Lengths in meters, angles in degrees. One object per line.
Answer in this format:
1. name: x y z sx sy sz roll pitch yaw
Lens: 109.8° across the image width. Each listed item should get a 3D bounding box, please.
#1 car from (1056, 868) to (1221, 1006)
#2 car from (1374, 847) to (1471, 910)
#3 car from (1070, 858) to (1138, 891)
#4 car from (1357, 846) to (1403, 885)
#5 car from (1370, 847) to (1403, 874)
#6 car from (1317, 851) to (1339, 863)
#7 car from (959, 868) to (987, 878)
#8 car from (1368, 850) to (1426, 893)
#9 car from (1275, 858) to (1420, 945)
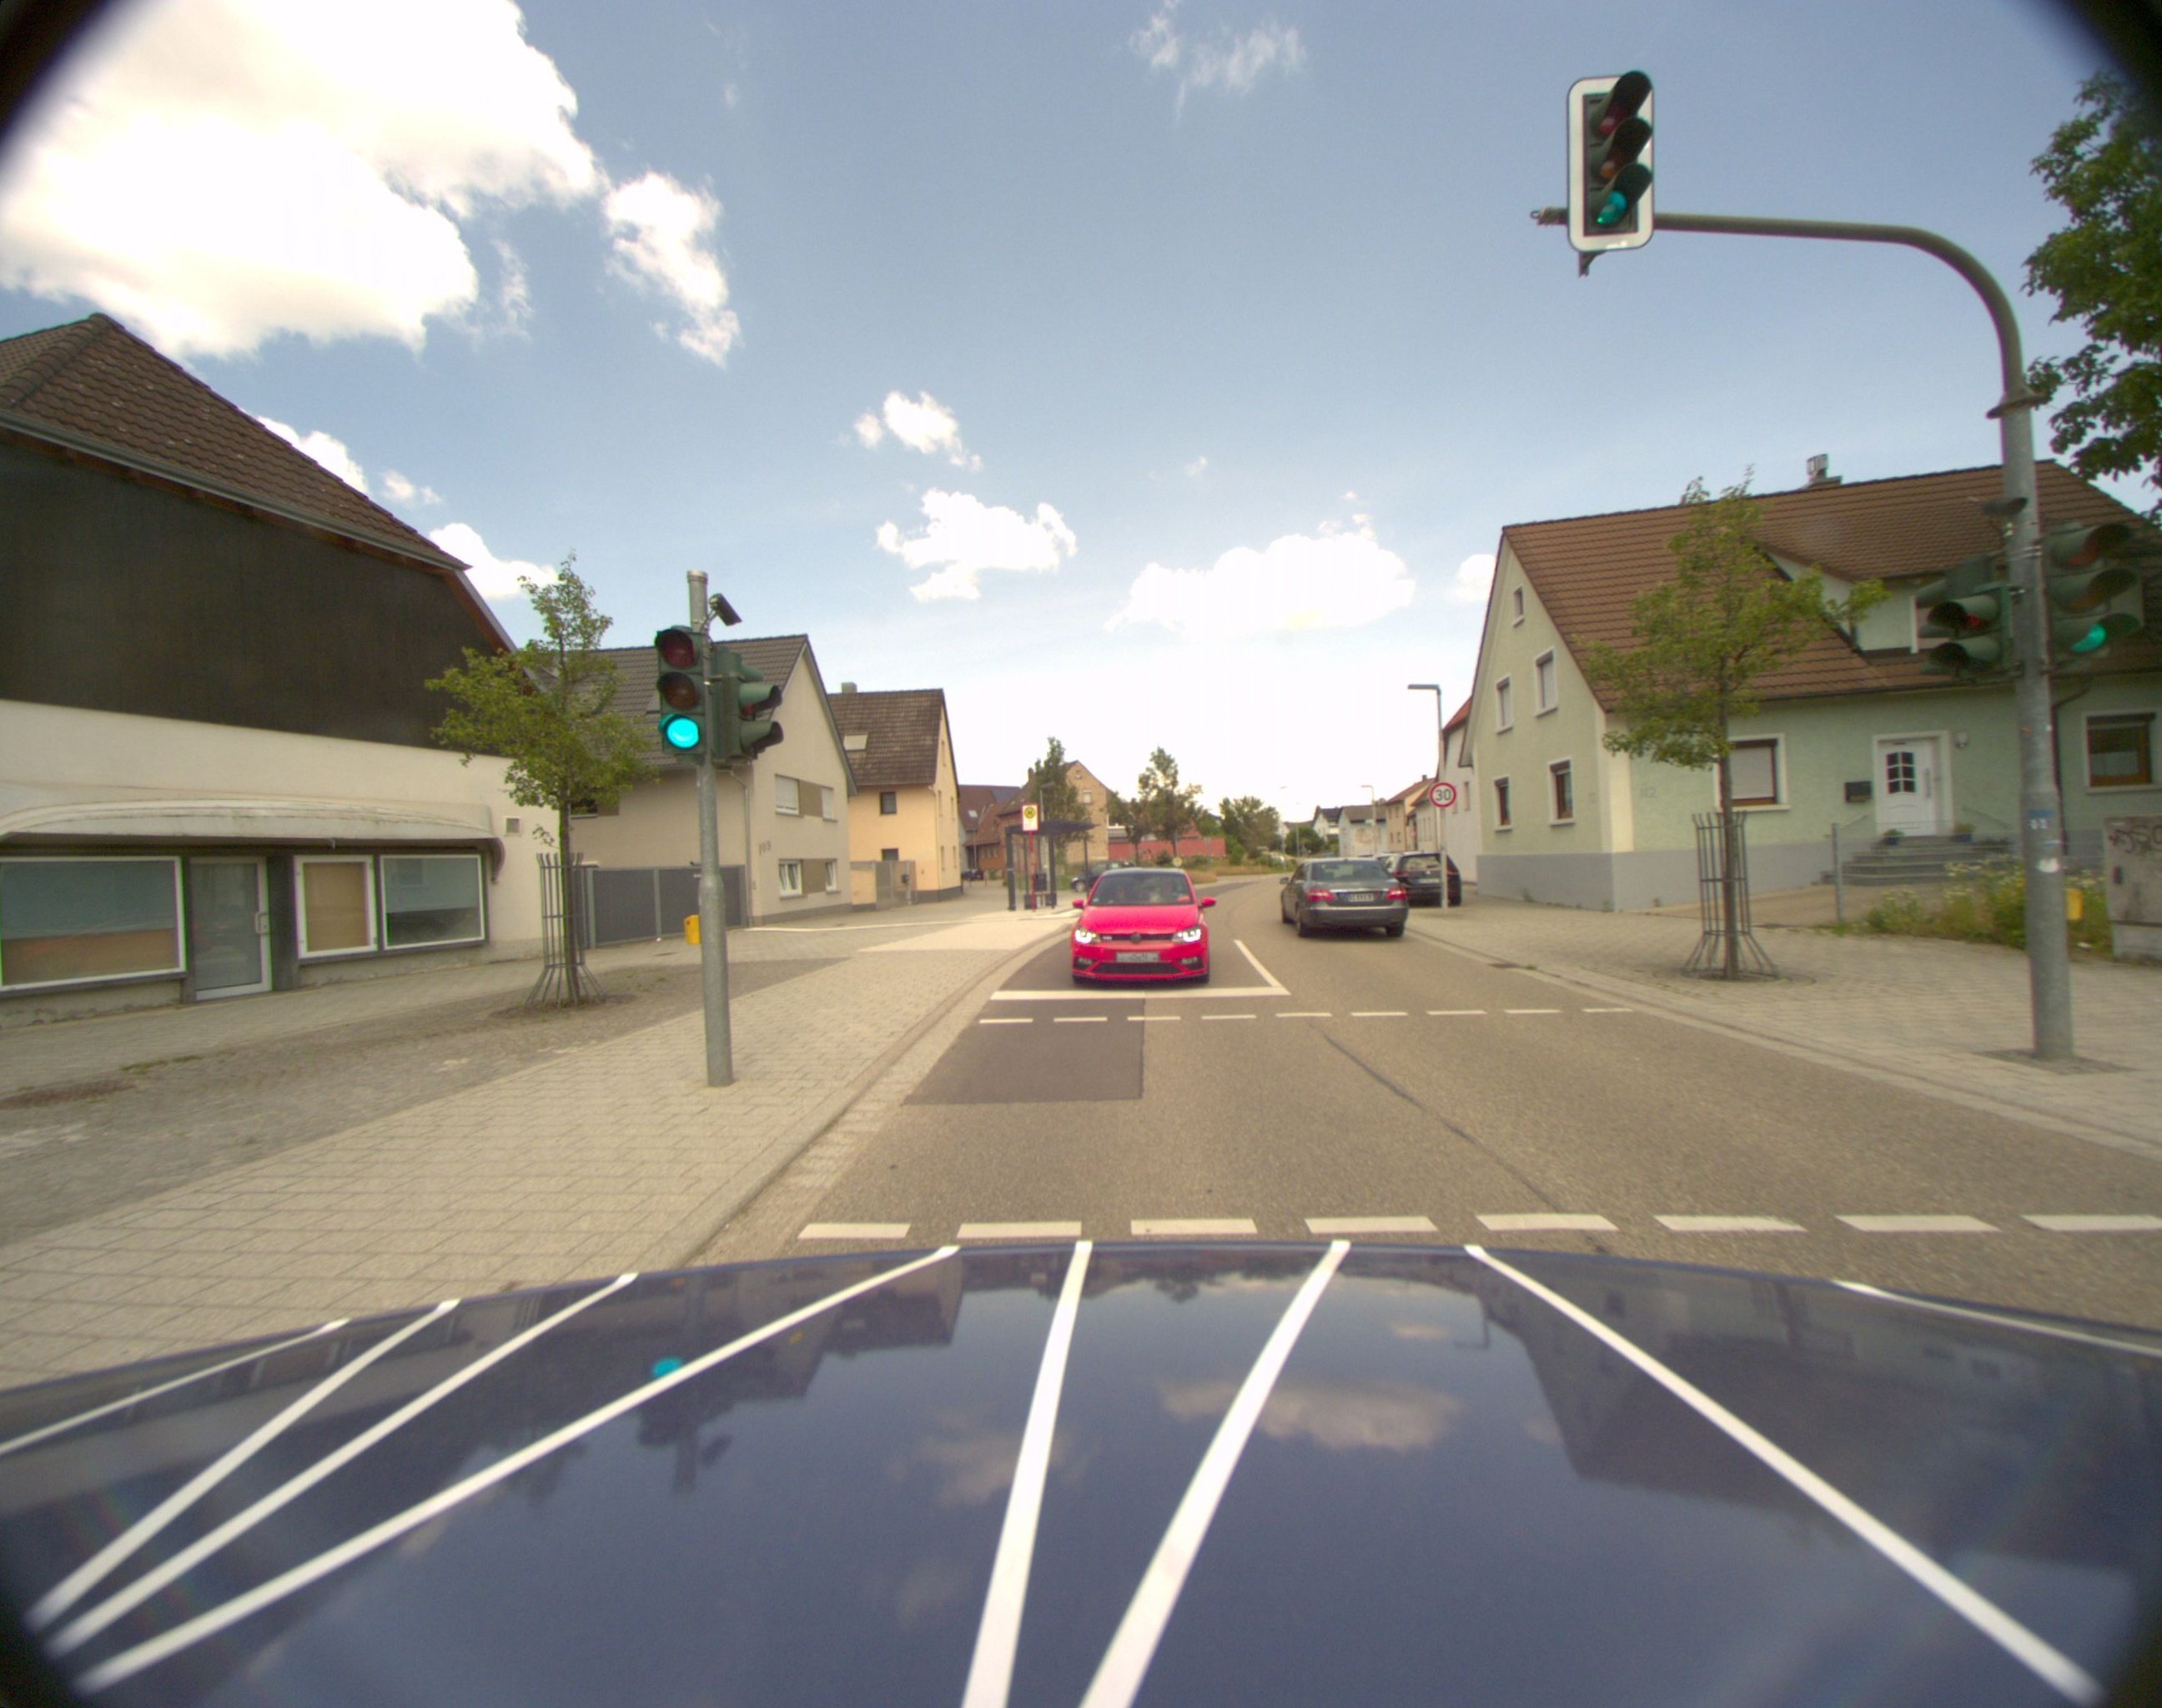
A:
1. car: 0.579 0.955 10.397 1.782 1.403 3.887 -2 0 -2
2. car: 9.297 0.602 21.023 1.735 1.482 4.505 -2 0 15
3. car: 1.292 1.100 41.828 3.546 1.583 1.667 -3 0 4
4. car: 13.092 0.487 33.424 1.657 1.553 3.696 -2 0 19
5. car: 19.497 0.409 48.413 1.657 1.565 3.698 -2 0 27
6. car: 26.227 0.308 80.773 1.996 1.182 4.004 -2 0 14
7. car: -12.284 2.205 86.472 1.806 1.053 3.991 -2 0 -29
8. car: 11.373 0.594 27.511 1.657 1.388 3.696 -2 0 19
9. car: 5.013 0.814 14.951 1.887 1.426 4.599 -1 0 9
